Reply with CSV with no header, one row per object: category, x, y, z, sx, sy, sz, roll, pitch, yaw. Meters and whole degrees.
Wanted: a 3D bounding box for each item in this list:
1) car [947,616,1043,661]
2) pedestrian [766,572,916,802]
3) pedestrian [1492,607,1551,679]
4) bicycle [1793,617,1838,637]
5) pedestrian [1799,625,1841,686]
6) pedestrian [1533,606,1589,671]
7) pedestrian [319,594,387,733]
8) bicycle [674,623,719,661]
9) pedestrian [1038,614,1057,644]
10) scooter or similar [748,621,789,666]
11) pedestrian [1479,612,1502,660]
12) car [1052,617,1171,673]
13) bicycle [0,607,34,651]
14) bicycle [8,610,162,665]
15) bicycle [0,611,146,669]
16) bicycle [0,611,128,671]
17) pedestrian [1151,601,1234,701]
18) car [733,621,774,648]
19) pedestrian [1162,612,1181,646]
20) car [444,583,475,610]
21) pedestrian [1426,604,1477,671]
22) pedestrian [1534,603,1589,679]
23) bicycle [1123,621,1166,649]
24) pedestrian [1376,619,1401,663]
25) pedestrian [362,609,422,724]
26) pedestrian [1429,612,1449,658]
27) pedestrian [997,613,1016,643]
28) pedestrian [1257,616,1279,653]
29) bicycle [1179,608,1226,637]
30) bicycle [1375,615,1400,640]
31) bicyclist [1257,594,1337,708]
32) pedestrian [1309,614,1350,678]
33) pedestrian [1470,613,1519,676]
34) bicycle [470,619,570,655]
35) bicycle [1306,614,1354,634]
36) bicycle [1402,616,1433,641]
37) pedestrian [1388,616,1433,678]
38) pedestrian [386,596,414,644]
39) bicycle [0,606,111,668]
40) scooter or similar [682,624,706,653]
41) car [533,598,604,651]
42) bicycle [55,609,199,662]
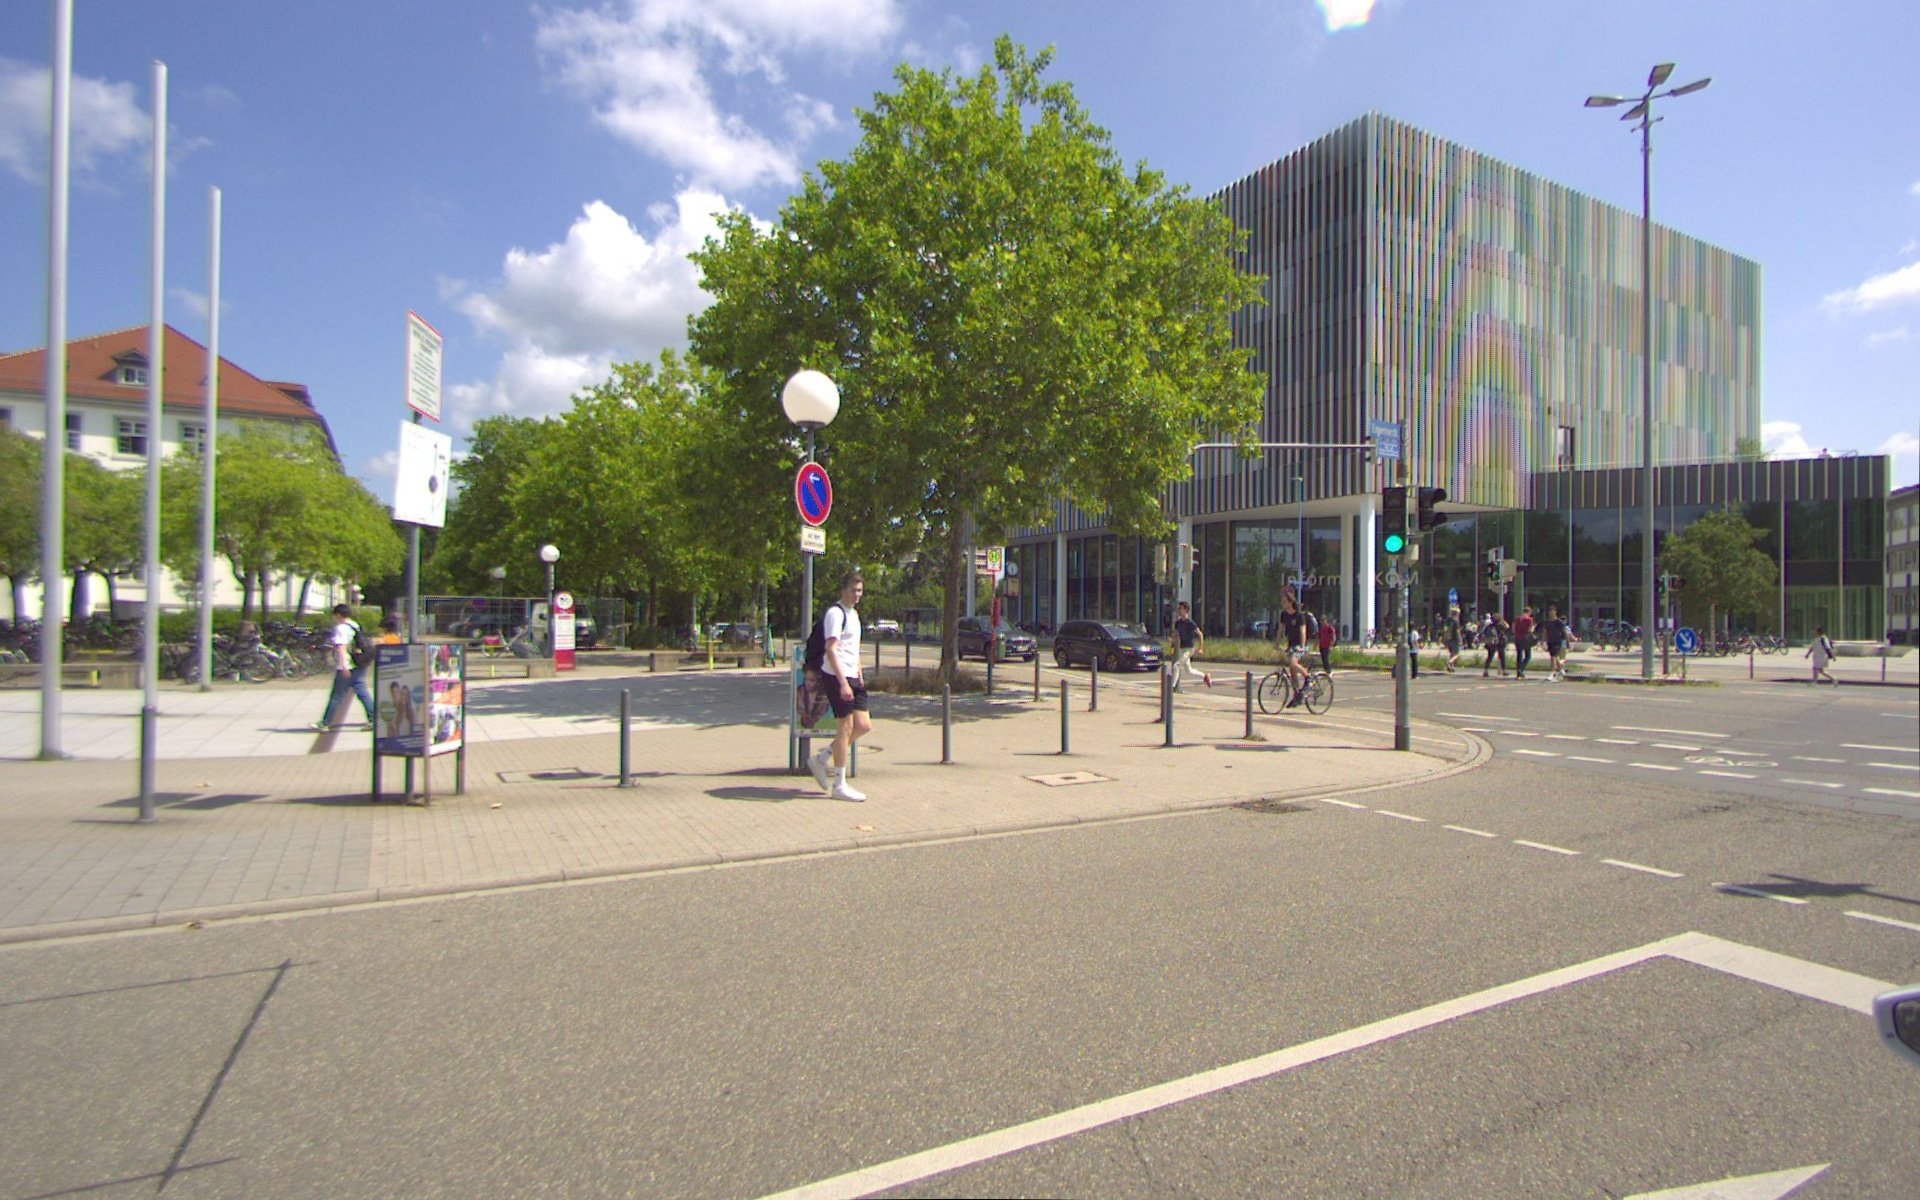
car,1.294,1.502,39.825,1.632,1.683,4.790,1,-1,-28
pedestrian,-1.042,0.705,8.769,1.070,1.875,0.720,1,0,33
pedestrian,14.626,1.110,26.173,1.251,1.831,0.803,1,-1,-28
bicycle,71.083,2.250,83.487,2.908,1.595,1.118,1,0,-3
pedestrian,22.260,1.418,26.000,0.815,1.543,0.811,0,-1,41
pedestrian,17.242,1.105,28.834,1.075,1.843,0.863,0,-1,-6
pedestrian,-8.548,0.872,14.170,0.760,1.884,0.716,1,-1,-28
bicycle,-8.339,1.306,31.694,0.657,1.128,2.595,1,-1,-31
pedestrian,6.603,2.184,75.877,1.003,2.231,0.968,1,0,-30
scooter or similar,-5.319,1.183,27.895,0.488,1.212,1.718,1,-1,-33
pedestrian,29.437,1.996,55.762,0.956,2.599,1.015,1,0,18
car,4.881,1.419,32.964,1.632,1.683,4.265,-1,-1,-28
bicycle,-32.749,0.952,33.195,2.908,1.430,1.060,1,-1,-22
bicycle,-23.511,1.014,27.083,2.908,1.430,1.060,1,-1,-22
bicycle,-23.107,1.024,26.018,2.908,1.430,1.060,1,-1,-22
bicycle,-22.705,1.017,24.964,2.908,1.430,1.060,1,-1,-22
pedestrian,4.602,1.014,19.866,1.378,1.879,0.701,4,-2,-21
car,-12.117,1.990,58.844,1.617,1.505,3.978,1,-1,-23
pedestrian,14.883,2.044,70.561,0.880,2.377,0.968,1,0,-30
car,-38.863,-0.253,77.951,1.845,1.965,4.364,1,-1,-31
pedestrian,14.111,1.075,28.844,0.988,1.901,0.854,0,-1,-9
pedestrian,15.372,1.042,25.668,1.072,1.895,0.825,1,-1,-33
bicycle,12.772,2.419,69.441,2.914,1.863,0.956,1,-1,-28
pedestrian,25.931,2.456,60.772,1.003,2.599,0.968,1,0,-30
pedestrian,-8.545,0.975,15.140,0.737,1.673,0.840,1,-1,-28
pedestrian,27.198,1.973,57.041,0.957,2.599,1.014,1,0,24
pedestrian,3.556,2.127,76.434,1.115,2.205,0.968,1,0,-30
pedestrian,19.871,2.234,64.812,1.003,2.377,0.968,1,0,-30
bicycle,15.843,1.454,65.695,2.906,1.863,1.013,1,0,-20
bicycle,22.461,1.434,52.827,1.178,1.253,2.950,1,-1,23
bicyclist,5.612,0.849,16.774,0.982,1.841,0.790,2,-2,-12
pedestrian,10.057,1.246,27.331,0.746,1.700,0.750,1,-1,-29
pedestrian,14.407,1.188,27.078,0.850,1.676,0.823,1,-1,-25
bicycle,-14.768,1.240,33.764,2.925,1.165,0.990,1,-1,-38
bicycle,23.304,1.498,63.293,1.006,1.253,2.902,1,-1,-30
bicycle,23.740,1.469,52.178,1.351,1.253,2.950,1,-1,23
pedestrian,11.965,1.230,26.703,0.788,1.619,0.767,1,-1,-28
pedestrian,-26.531,0.934,47.583,1.031,2.229,1.148,1,-1,-36
bicycle,-22.249,0.880,23.888,2.908,1.430,1.060,1,-1,-22
scooter or similar,-14.382,2.059,54.210,0.723,1.559,2.635,1,-1,-27
car,-15.775,0.981,40.330,1.845,1.965,4.736,1,-1,-31
bicycle,-23.443,0.991,28.373,2.908,1.430,1.060,1,-1,-22
